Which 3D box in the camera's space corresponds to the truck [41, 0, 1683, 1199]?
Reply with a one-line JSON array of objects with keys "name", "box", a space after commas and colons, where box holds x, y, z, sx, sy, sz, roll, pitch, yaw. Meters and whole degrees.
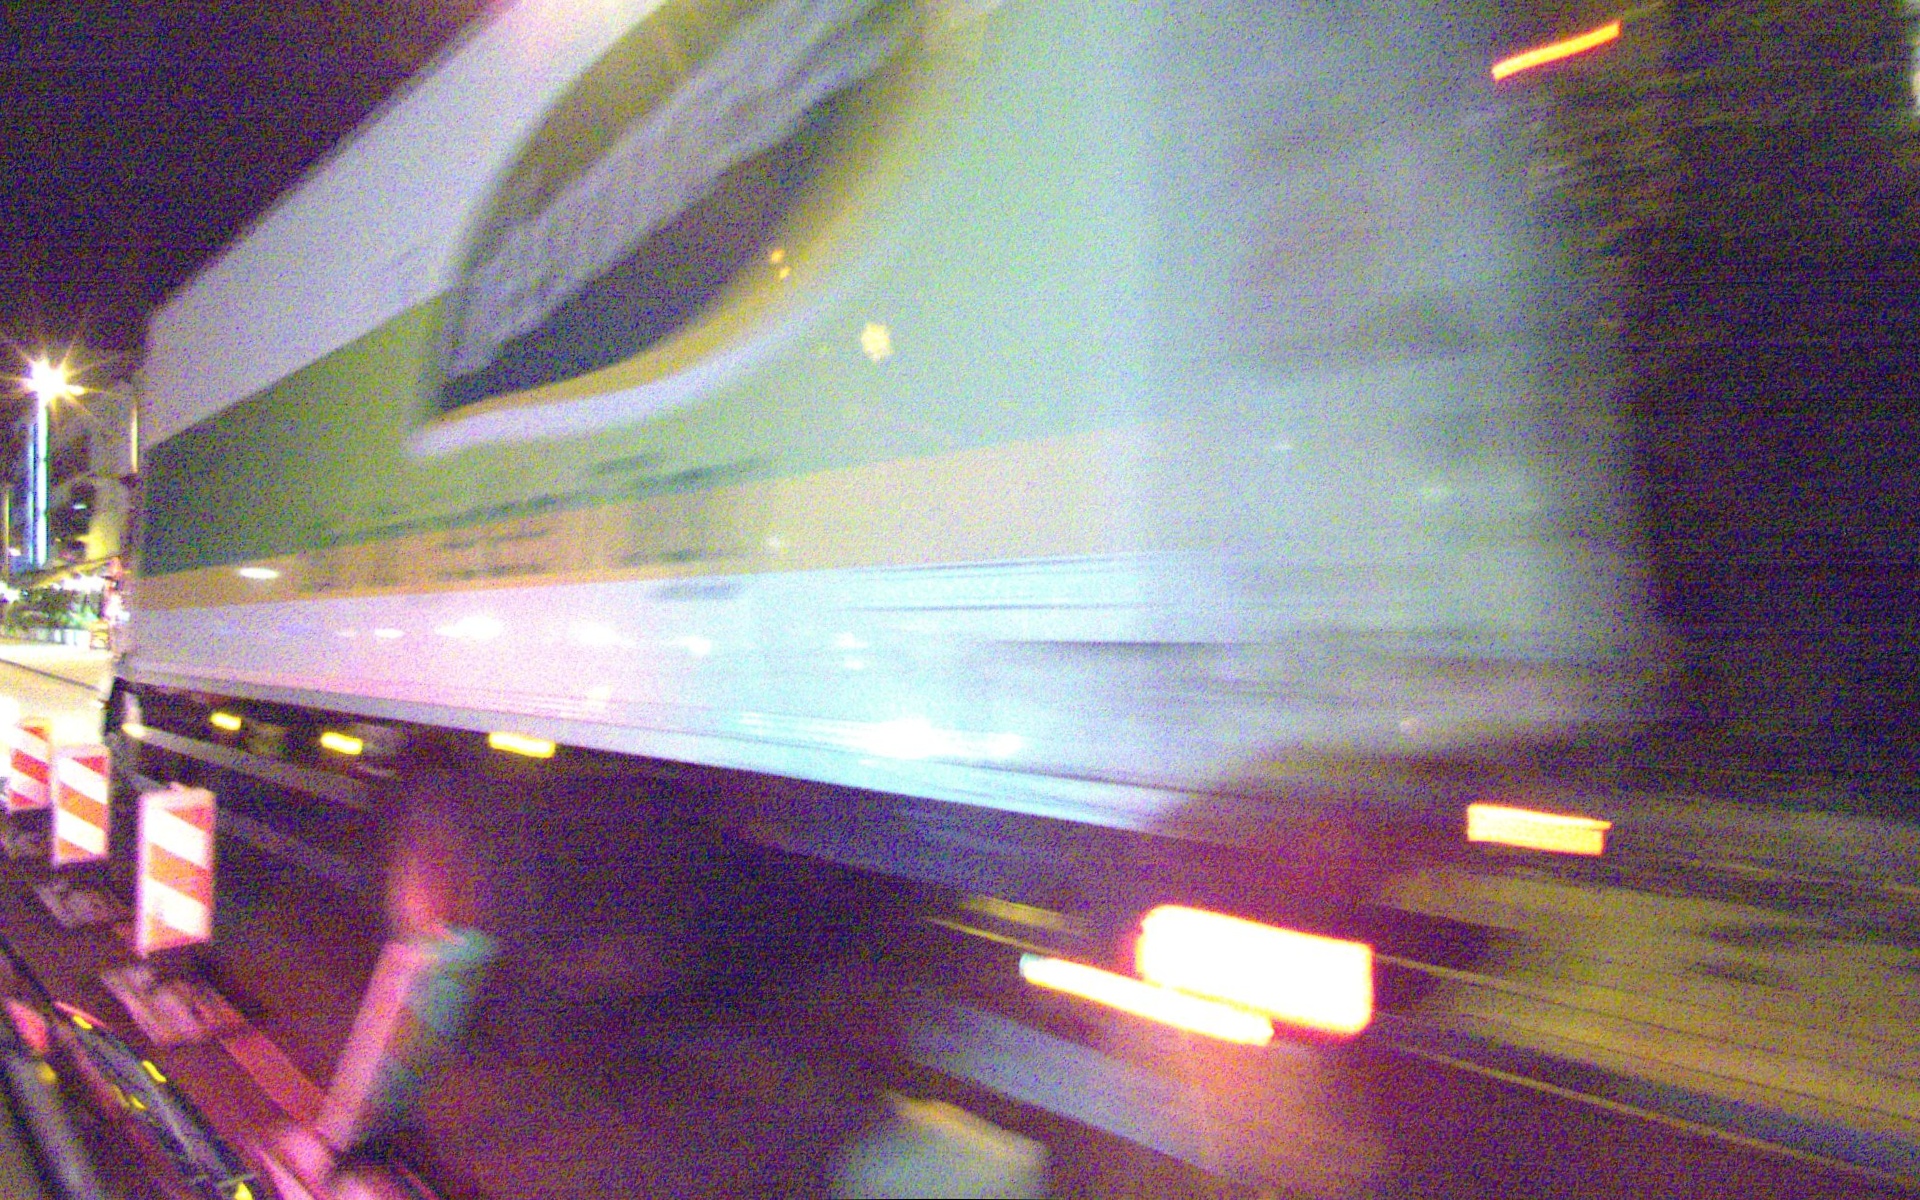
[{"name": "truck", "box": [-2.365, -0.387, 5.563, 10.108, 3.746, 2.726, -1, -3, 41]}]
